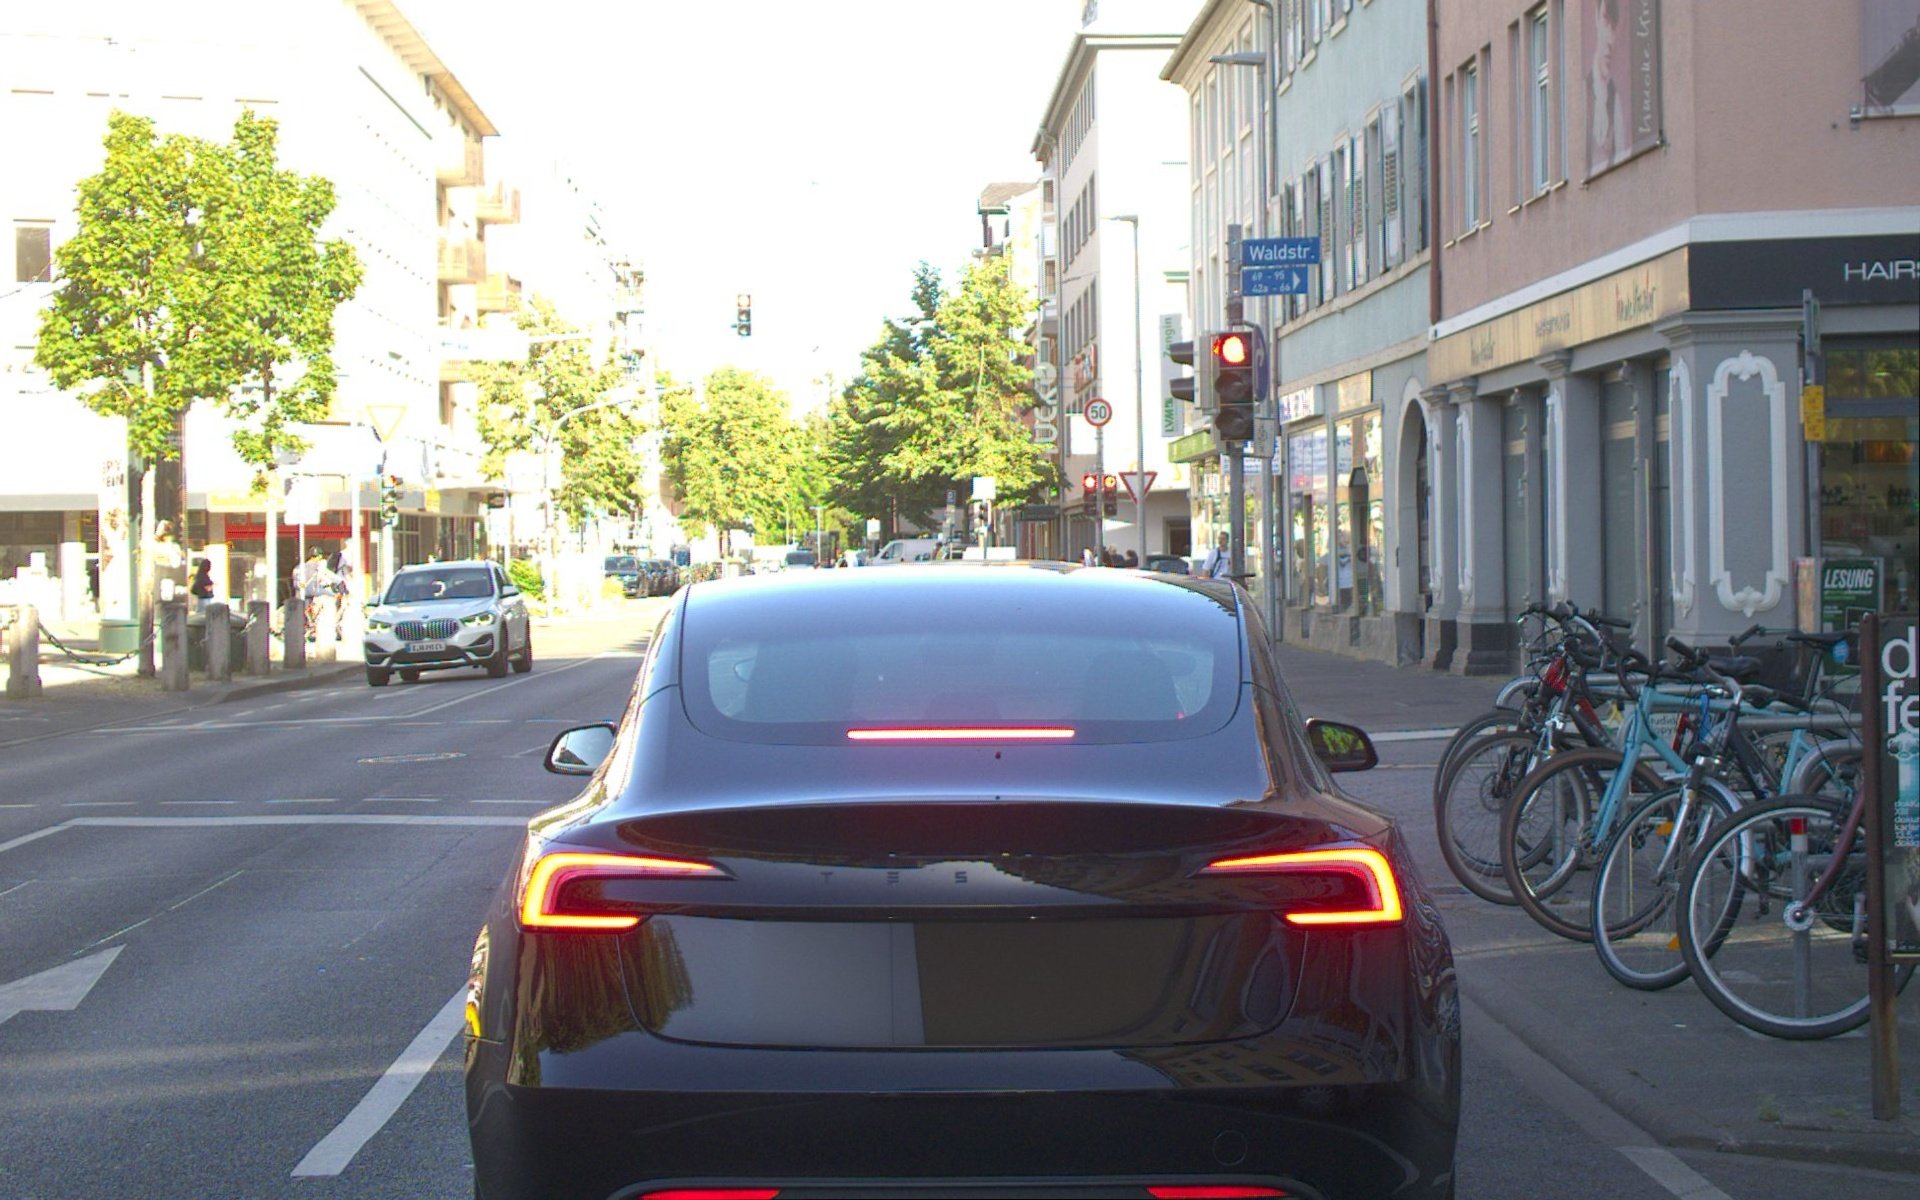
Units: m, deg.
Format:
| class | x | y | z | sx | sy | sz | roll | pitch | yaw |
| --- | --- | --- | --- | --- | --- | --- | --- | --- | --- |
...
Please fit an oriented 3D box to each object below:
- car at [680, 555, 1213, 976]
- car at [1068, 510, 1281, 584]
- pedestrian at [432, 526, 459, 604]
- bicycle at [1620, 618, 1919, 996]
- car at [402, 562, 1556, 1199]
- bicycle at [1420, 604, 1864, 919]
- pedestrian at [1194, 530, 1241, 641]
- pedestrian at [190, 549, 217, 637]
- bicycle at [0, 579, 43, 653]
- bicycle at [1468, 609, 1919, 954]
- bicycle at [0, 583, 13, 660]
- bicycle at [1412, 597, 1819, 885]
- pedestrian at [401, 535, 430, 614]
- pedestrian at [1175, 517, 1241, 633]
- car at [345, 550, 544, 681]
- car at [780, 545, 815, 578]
| class | x | y | z | sx | sy | sz | roll | pitch | yaw |
| --- | --- | --- | --- | --- | --- | --- | --- | --- | --- |
| car | -0.041 | 0.551 | 13.828 | 1.850 | 1.450 | 3.786 | 0 | 1 | 0 |
| car | 5.061 | -1.249 | 80.937 | 4.642 | 1.721 | 2.055 | 0 | 1 | 17 |
| pedestrian | -13.200 | -0.899 | 88.226 | 0.626 | 2.007 | 0.575 | 0 | 1 | -1 |
| bicycle | 3.017 | 0.648 | 11.155 | 1.627 | 1.156 | 0.433 | -2 | 1 | -1 |
| car | 0.035 | 0.651 | 7.412 | 1.850 | 1.450 | 3.786 | 0 | 1 | 0 |
| bicycle | 2.679 | 0.626 | 13.568 | 1.627 | 1.156 | 0.433 | -2 | 1 | -1 |
| pedestrian | 4.128 | -0.232 | 55.176 | 0.704 | 1.777 | 0.533 | 0 | 1 | -1 |
| pedestrian | -13.732 | -0.132 | 62.417 | 0.385 | 1.586 | 0.706 | 0 | 1 | -5 |
| bicycle | -15.063 | 0.239 | 52.174 | 2.082 | 1.100 | 0.806 | 0 | 1 | -1 |
| bicycle | 2.699 | 0.643 | 12.407 | 1.627 | 1.156 | 0.433 | -2 | 1 | -1 |
| bicycle | -14.924 | 0.309 | 49.981 | 2.082 | 1.100 | 0.806 | 0 | 1 | -1 |
| bicycle | 2.803 | 0.597 | 14.764 | 1.628 | 1.156 | 0.433 | -2 | 1 | 1 |
| pedestrian | -13.987 | -0.659 | 88.335 | 0.626 | 2.007 | 0.707 | 0 | 1 | -1 |
| pedestrian | 3.974 | -0.401 | 55.190 | 0.999 | 1.844 | 0.615 | 0 | 1 | -1 |
| car | -6.802 | 0.167 | 45.716 | 1.993 | 1.535 | 4.000 | -4 | 1 | -1 |
| car | -8.593 | -2.067 | 181.685 | 1.829 | 1.718 | 4.000 | 0 | 1 | -2 |
